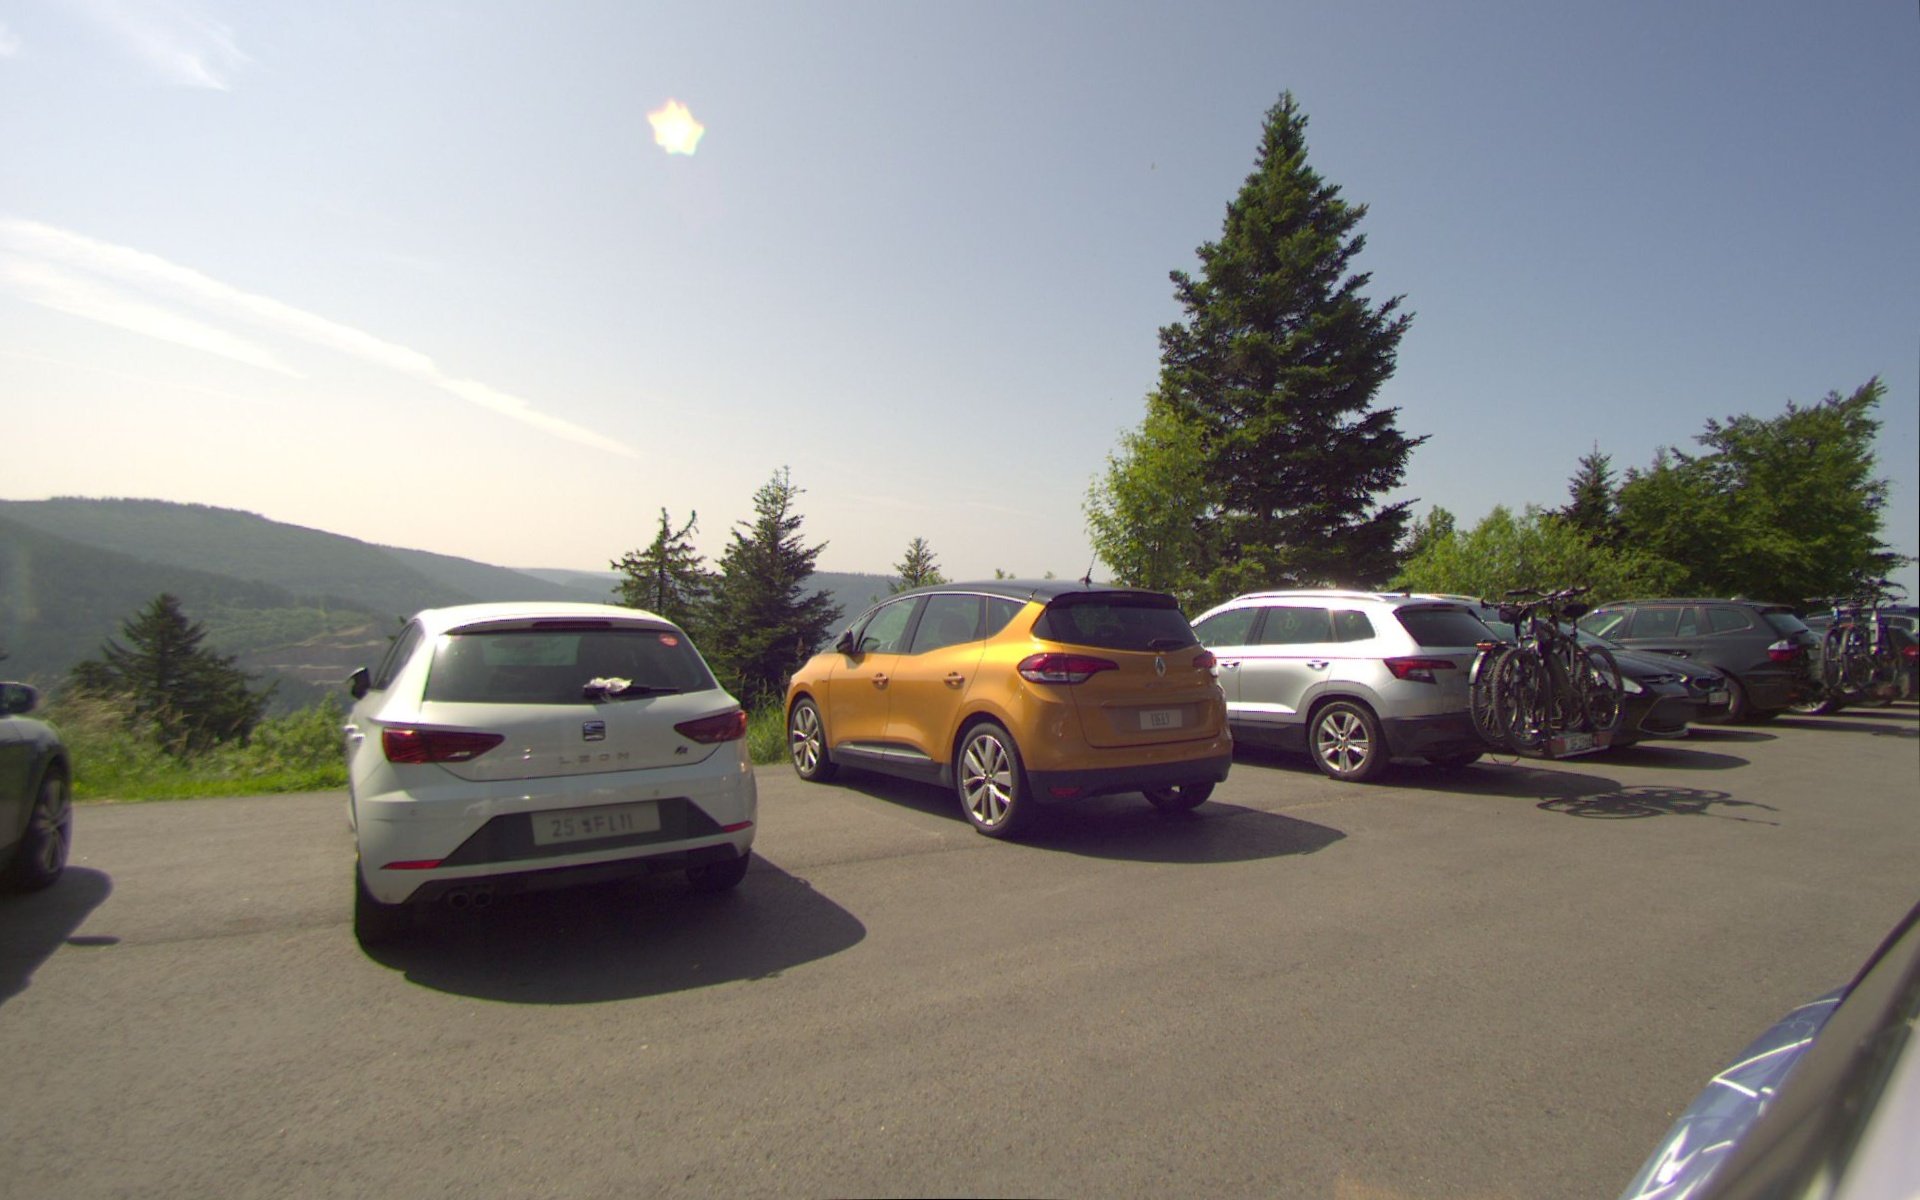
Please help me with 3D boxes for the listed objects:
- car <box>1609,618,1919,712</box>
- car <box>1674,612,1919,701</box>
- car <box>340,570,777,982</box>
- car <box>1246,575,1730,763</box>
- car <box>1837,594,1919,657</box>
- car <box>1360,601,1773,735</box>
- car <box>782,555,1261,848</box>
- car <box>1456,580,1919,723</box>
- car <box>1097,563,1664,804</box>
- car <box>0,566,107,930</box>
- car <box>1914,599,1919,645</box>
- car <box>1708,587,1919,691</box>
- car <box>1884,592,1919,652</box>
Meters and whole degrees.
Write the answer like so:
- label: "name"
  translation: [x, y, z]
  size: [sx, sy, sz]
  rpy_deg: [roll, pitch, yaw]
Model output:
- label: "car"
  translation: [12.443, 0.927, 15.687]
  size: [1.534, 1.285, 3.710]
  rpy_deg: [2, -2, -35]
- label: "car"
  translation: [14.918, 0.918, 17.724]
  size: [1.708, 1.368, 3.679]
  rpy_deg: [1, 0, -41]
- label: "car"
  translation: [-2.503, 0.650, 5.628]
  size: [1.582, 1.438, 3.897]
  rpy_deg: [-1, -1, -32]
- label: "car"
  translation: [5.509, 0.679, 11.185]
  size: [1.719, 1.639, 4.431]
  rpy_deg: [1, -2, -35]
- label: "car"
  translation: [29.225, 0.759, 32.057]
  size: [3.819, 1.864, 1.863]
  rpy_deg: [0, 0, -44]
- label: "car"
  translation: [7.637, 0.806, 13.230]
  size: [1.656, 1.450, 4.328]
  rpy_deg: [1, -2, -32]
- label: "car"
  translation: [0.190, 0.628, 7.757]
  size: [1.676, 1.636, 3.890]
  rpy_deg: [1, -2, -33]
- label: "car"
  translation: [10.029, 0.708, 14.261]
  size: [1.962, 1.641, 5.116]
  rpy_deg: [1, -3, -34]
- label: "car"
  translation: [3.531, 0.617, 9.367]
  size: [1.975, 1.648, 4.489]
  rpy_deg: [1, -1, -35]
- label: "car"
  translation: [-4.586, 0.628, 3.480]
  size: [1.638, 1.564, 4.149]
  rpy_deg: [1, 0, -28]
- label: "car"
  translation: [39.040, 0.858, 39.938]
  size: [1.993, 1.766, 3.938]
  rpy_deg: [0, 0, 43]
- label: "car"
  translation: [17.168, 0.693, 19.276]
  size: [1.962, 1.845, 4.326]
  rpy_deg: [1, 0, -35]
- label: "car"
  translation: [34.436, 0.755, 36.216]
  size: [1.993, 2.039, 3.937]
  rpy_deg: [0, 0, 43]
